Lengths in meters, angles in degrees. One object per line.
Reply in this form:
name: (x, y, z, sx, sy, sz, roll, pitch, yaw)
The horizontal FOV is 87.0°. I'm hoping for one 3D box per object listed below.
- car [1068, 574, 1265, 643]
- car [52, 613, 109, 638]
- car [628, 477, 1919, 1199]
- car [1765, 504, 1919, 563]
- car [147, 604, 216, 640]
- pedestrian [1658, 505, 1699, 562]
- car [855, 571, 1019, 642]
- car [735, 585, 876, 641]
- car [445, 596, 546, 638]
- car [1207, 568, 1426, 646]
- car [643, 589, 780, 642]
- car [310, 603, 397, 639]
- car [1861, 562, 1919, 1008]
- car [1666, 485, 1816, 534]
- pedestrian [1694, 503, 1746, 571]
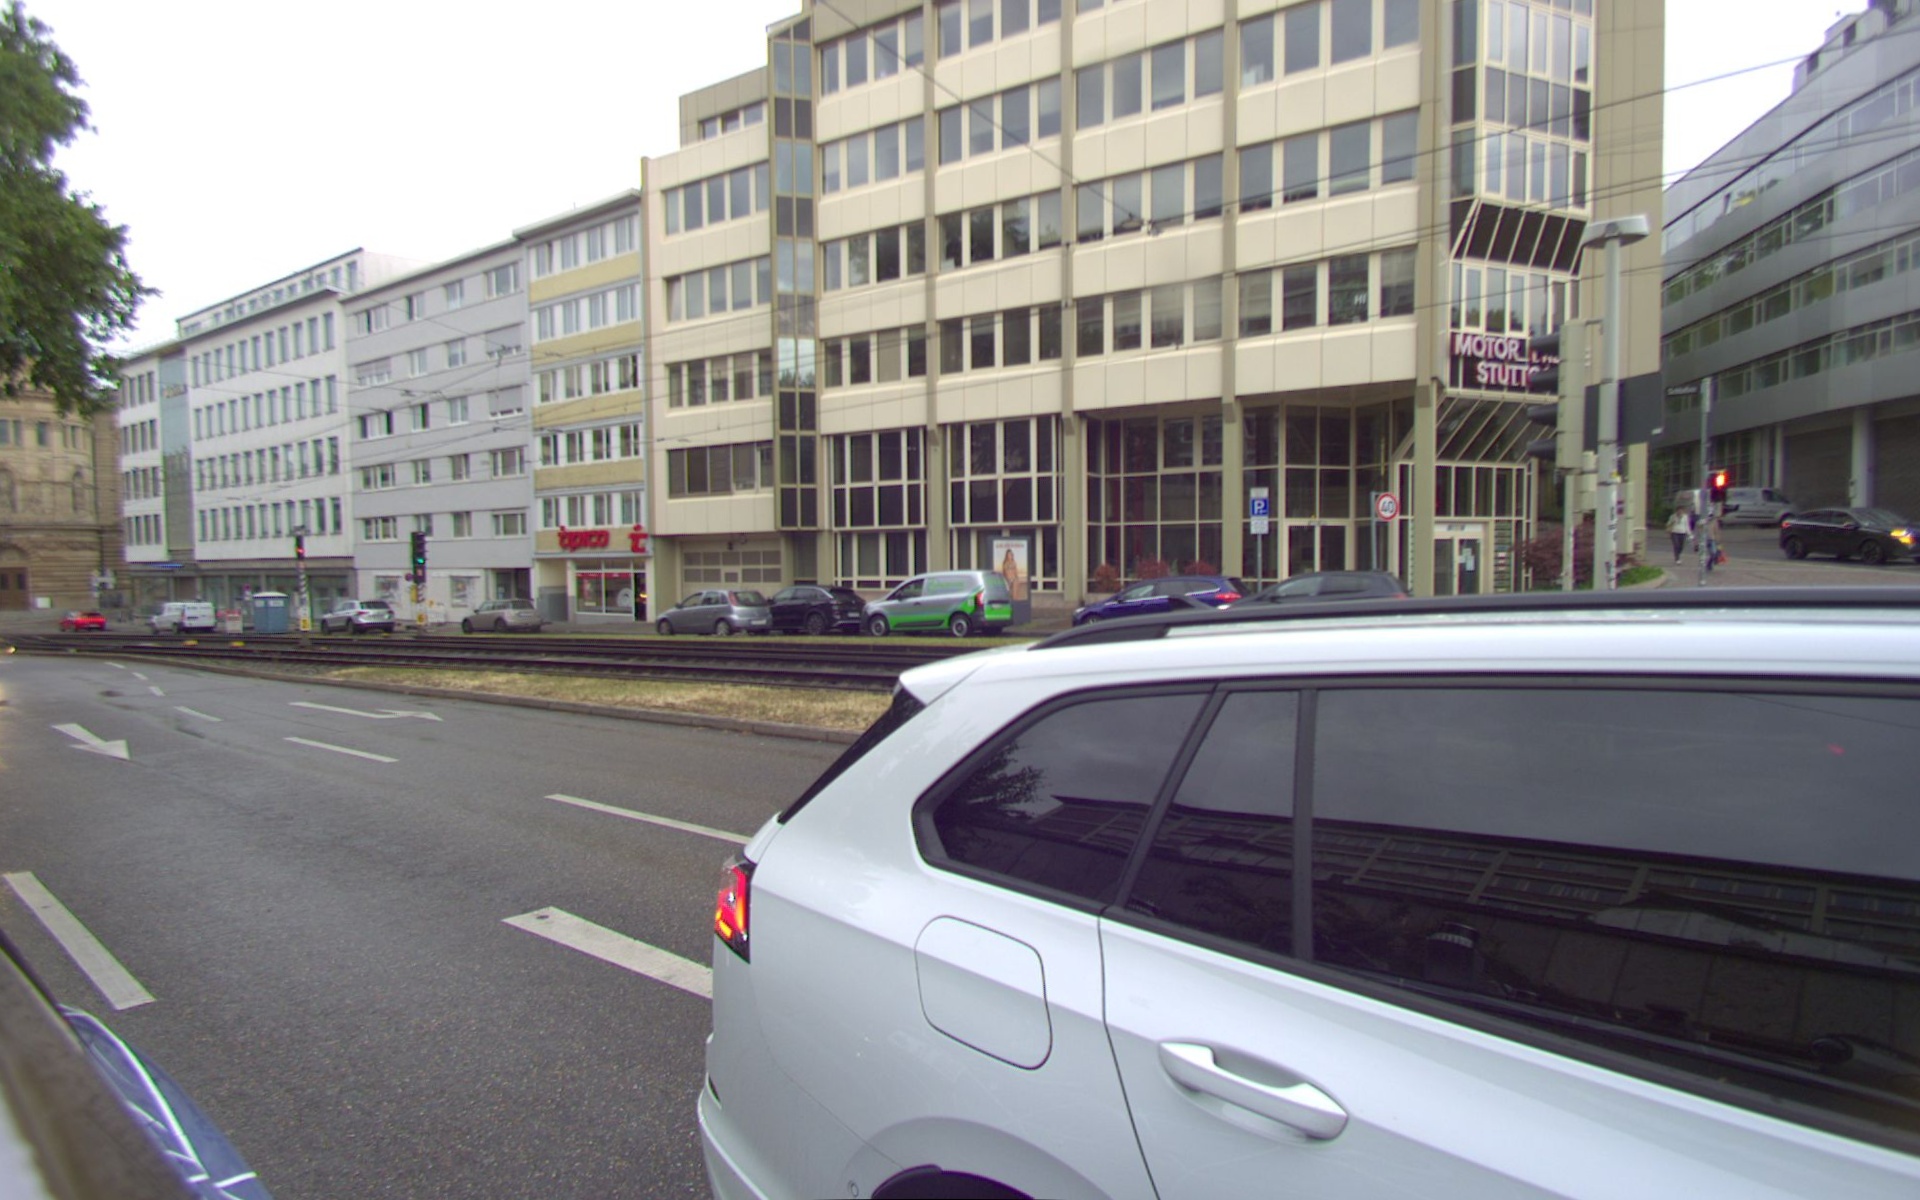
car: (4.826, 0.193, 23.851, 4.207, 1.488, 1.780, -1, 0, 35)
car: (-62.198, 1.778, 71.560, 4.465, 1.636, 1.869, -1, 3, 34)
car: (1.619, 0.623, 1.162, 4.473, 1.453, 1.777, -1, 0, 41)
car: (27.538, -2.078, 31.010, 1.974, 1.591, 4.884, -2, 5, 3)
car: (-46.540, 1.288, 60.455, 4.465, 1.949, 1.869, -1, 3, 34)
pedestrian: (21.223, -1.952, 29.906, 0.711, 1.651, 0.759, -2, 3, 6)
car: (-0.666, 0.169, 27.865, 4.204, 1.759, 1.782, -1, 2, 33)
car: (-4.707, 0.379, 30.755, 4.066, 1.524, 1.782, -1, 3, 34)
car: (-18.705, 0.665, 40.709, 4.066, 1.524, 1.782, -1, 3, 34)
car: (6.940, 0.150, 19.756, 3.851, 1.367, 1.618, -1, 2, 27)
car: (-7.132, 0.447, 28.907, 3.861, 1.367, 1.614, -1, 2, 34)
car: (-28.301, 0.948, 47.211, 4.066, 1.524, 1.869, -1, 3, 34)
car: (5.309, 0.574, 2.559, 4.473, 1.453, 1.777, -1, 0, 41)
car: (37.636, -4.347, 48.938, 5.357, 2.029, 1.993, -1, 0, 12)
pedestrian: (20.572, -1.703, 27.407, 0.821, 1.800, 0.759, -2, 3, 6)
